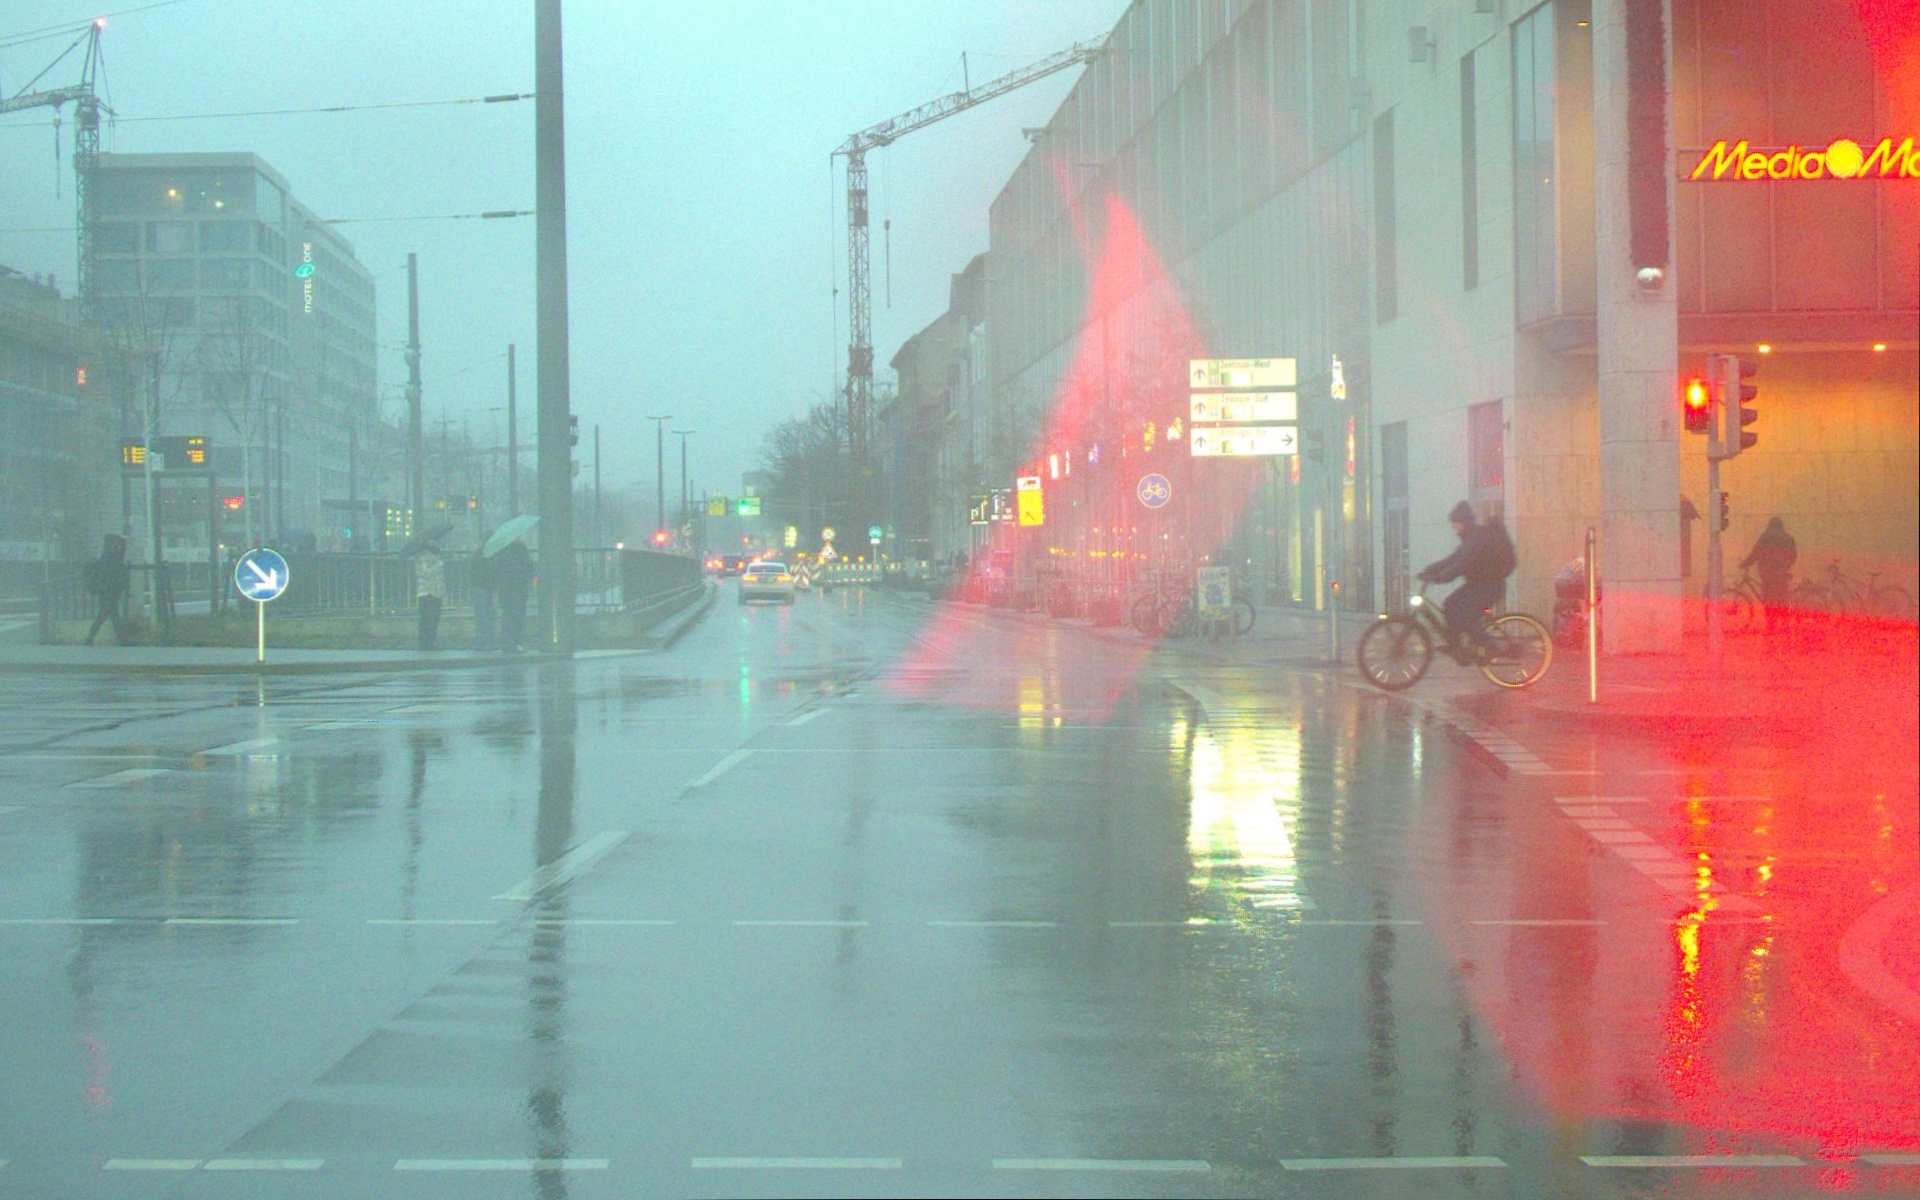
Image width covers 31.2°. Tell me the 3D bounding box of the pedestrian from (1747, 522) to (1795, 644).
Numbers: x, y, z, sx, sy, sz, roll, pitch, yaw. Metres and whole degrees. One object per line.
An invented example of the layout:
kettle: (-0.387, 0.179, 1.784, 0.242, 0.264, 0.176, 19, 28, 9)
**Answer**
pedestrian: (11.720, -0.248, 49.673, 0.600, 1.739, 0.524, 1, 0, 8)

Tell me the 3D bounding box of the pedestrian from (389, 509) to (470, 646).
pedestrian: (-7.187, -0.303, 46.557, 0.821, 1.825, 0.786, 1, 0, -31)

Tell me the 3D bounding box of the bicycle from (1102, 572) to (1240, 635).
bicycle: (3.827, 0.068, 62.454, 2.425, 1.095, 0.712, -1, 0, -2)

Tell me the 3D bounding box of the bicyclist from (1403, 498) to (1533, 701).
bicyclist: (4.754, -0.009, 32.217, 1.157, 1.865, 0.745, 1, 0, 8)

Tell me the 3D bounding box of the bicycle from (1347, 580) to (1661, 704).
bicycle: (5.070, 0.381, 32.184, 2.857, 1.095, 0.745, 1, 0, 7)

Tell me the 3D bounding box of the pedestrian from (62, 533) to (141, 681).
pedestrian: (-11.840, 0.091, 47.406, 0.785, 2.007, 0.726, 1, 1, 42)

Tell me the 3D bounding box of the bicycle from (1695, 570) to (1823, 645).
bicycle: (11.663, 0.111, 50.228, 1.768, 1.066, 0.524, 1, 0, 8)

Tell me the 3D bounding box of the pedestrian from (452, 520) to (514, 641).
pedestrian: (-6.655, -0.277, 48.006, 0.612, 1.680, 0.577, 1, 1, 42)

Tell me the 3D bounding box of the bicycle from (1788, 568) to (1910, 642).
bicycle: (13.134, 0.067, 50.804, 1.646, 1.066, 0.525, 1, 0, -4)

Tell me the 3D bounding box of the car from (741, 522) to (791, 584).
car: (-6.442, -1.551, 114.210, 1.577, 2.007, 3.172, -1, 1, -3)

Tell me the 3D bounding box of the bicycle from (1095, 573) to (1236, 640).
bicycle: (3.662, 0.112, 61.402, 2.442, 1.150, 0.674, -1, 0, -1)
